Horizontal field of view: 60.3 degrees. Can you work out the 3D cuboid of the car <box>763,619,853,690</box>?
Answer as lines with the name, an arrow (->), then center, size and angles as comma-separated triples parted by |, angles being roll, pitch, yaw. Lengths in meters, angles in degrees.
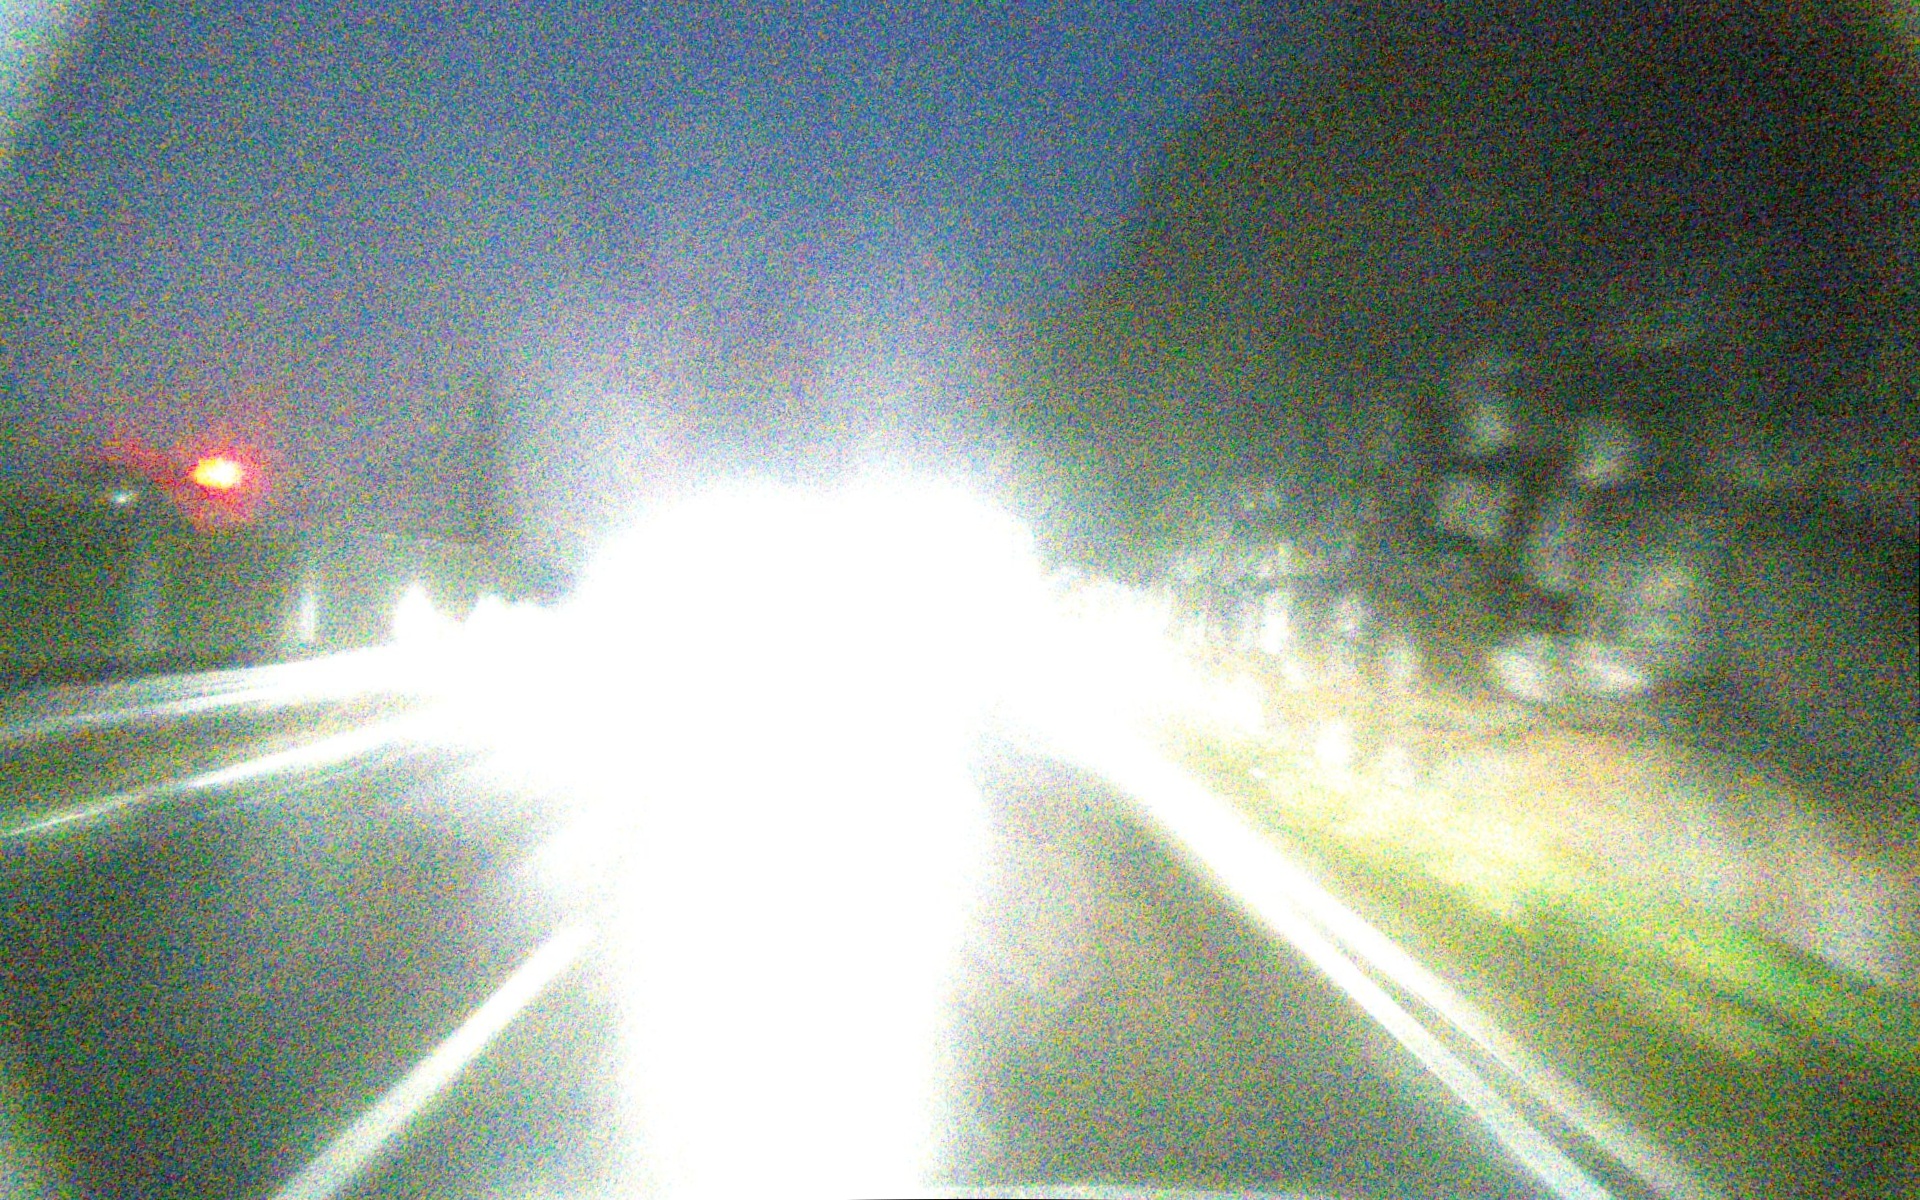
car -> -3.725, 1.320, 41.149 | 1.953, 1.526, 3.999 | 1, 1, -1
